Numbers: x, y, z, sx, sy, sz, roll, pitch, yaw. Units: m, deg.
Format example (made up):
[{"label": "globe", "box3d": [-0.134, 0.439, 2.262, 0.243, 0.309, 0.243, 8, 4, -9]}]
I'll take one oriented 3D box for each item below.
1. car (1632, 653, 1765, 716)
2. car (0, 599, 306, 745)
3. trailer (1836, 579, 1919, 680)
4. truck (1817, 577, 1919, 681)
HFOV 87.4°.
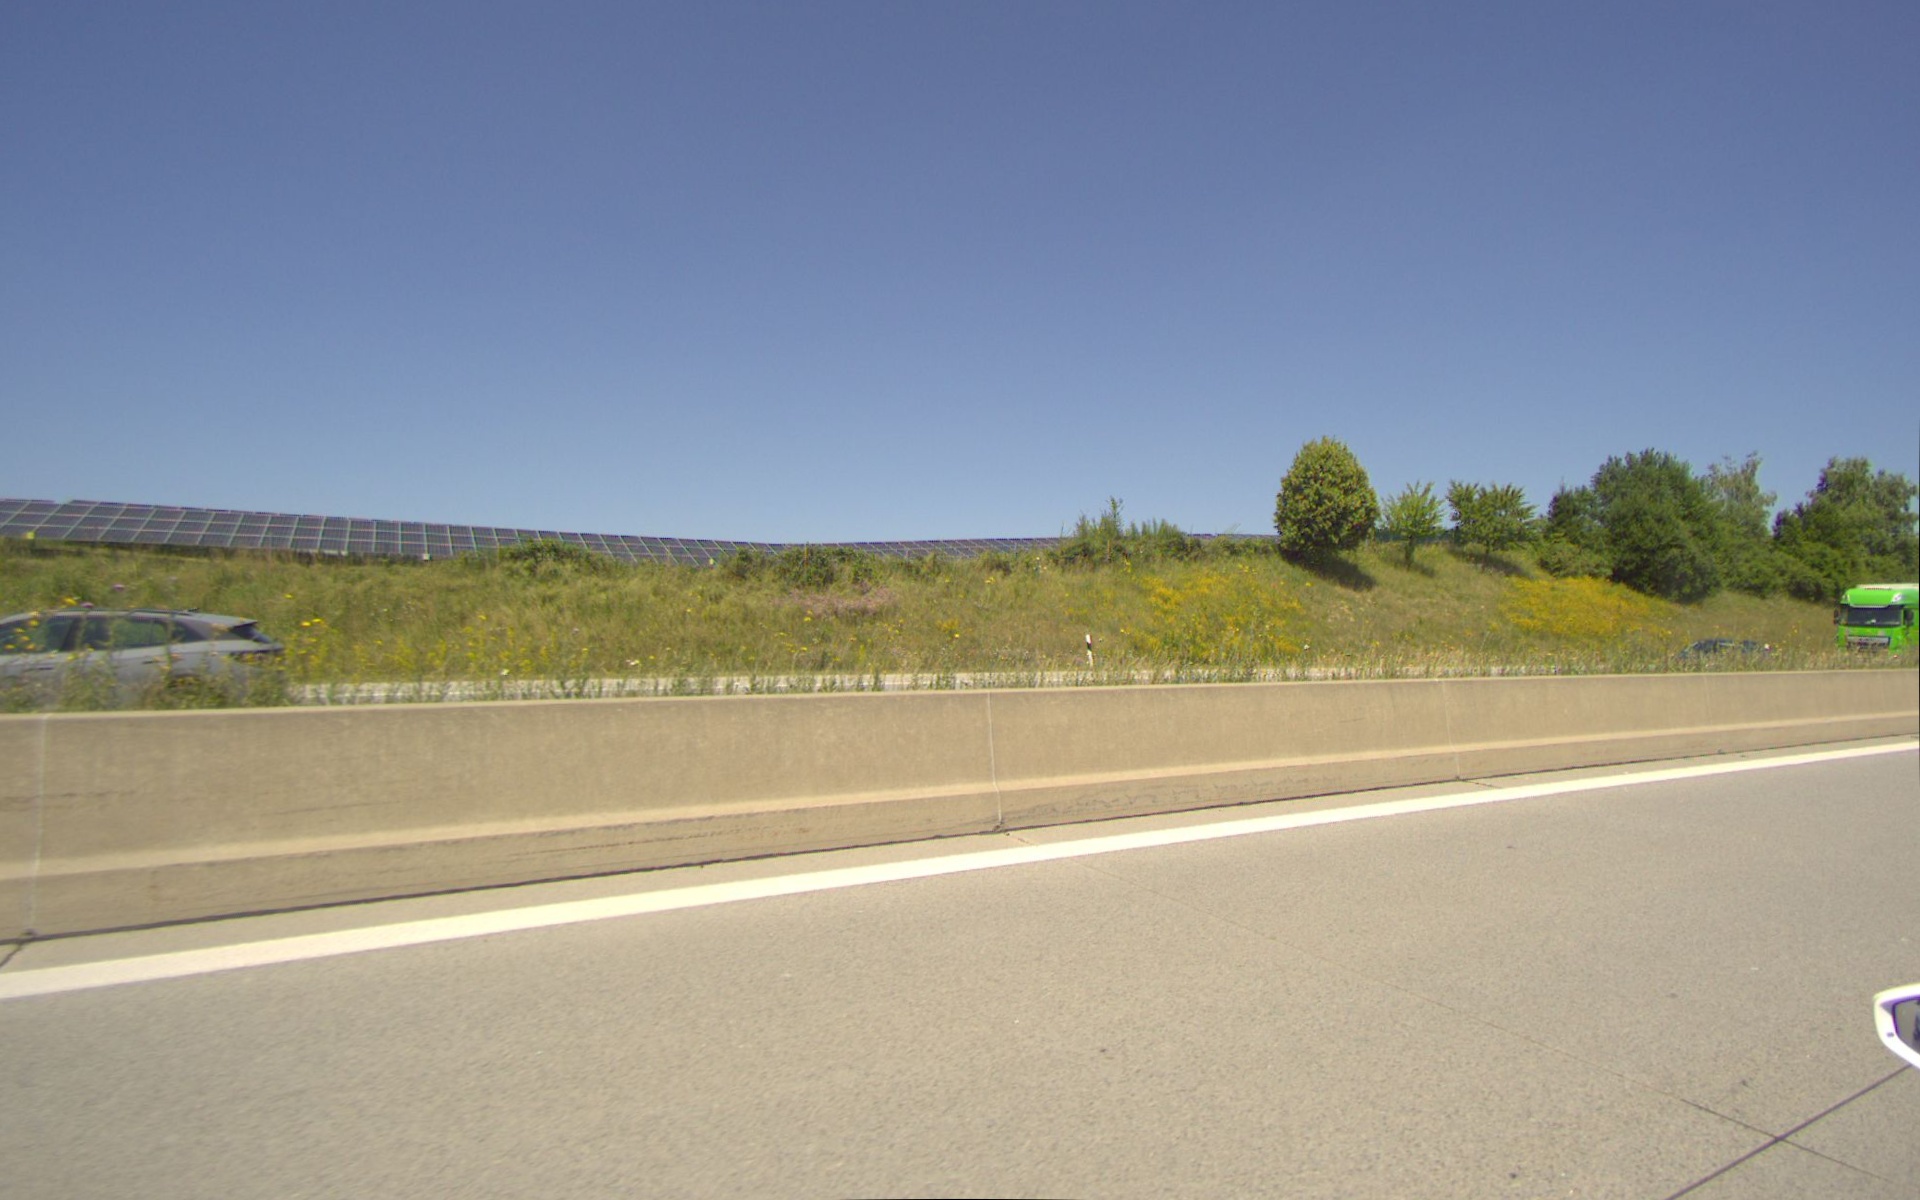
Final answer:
[{"label": "car", "box3d": [23.626, 2.650, 32.132, 3.953, 1.795, 1.984, 2, -1, -30]}, {"label": "car", "box3d": [-10.644, 0.811, 12.028, 4.590, 1.606, 1.718, 2, -1, -30]}, {"label": "trailer", "box3d": [50.914, 1.578, 51.887, 16.235, 4.668, 3.143, 2, -1, -29]}, {"label": "truck", "box3d": [44.613, 1.398, 48.361, 6.189, 4.724, 3.076, 2, -1, -29]}]
